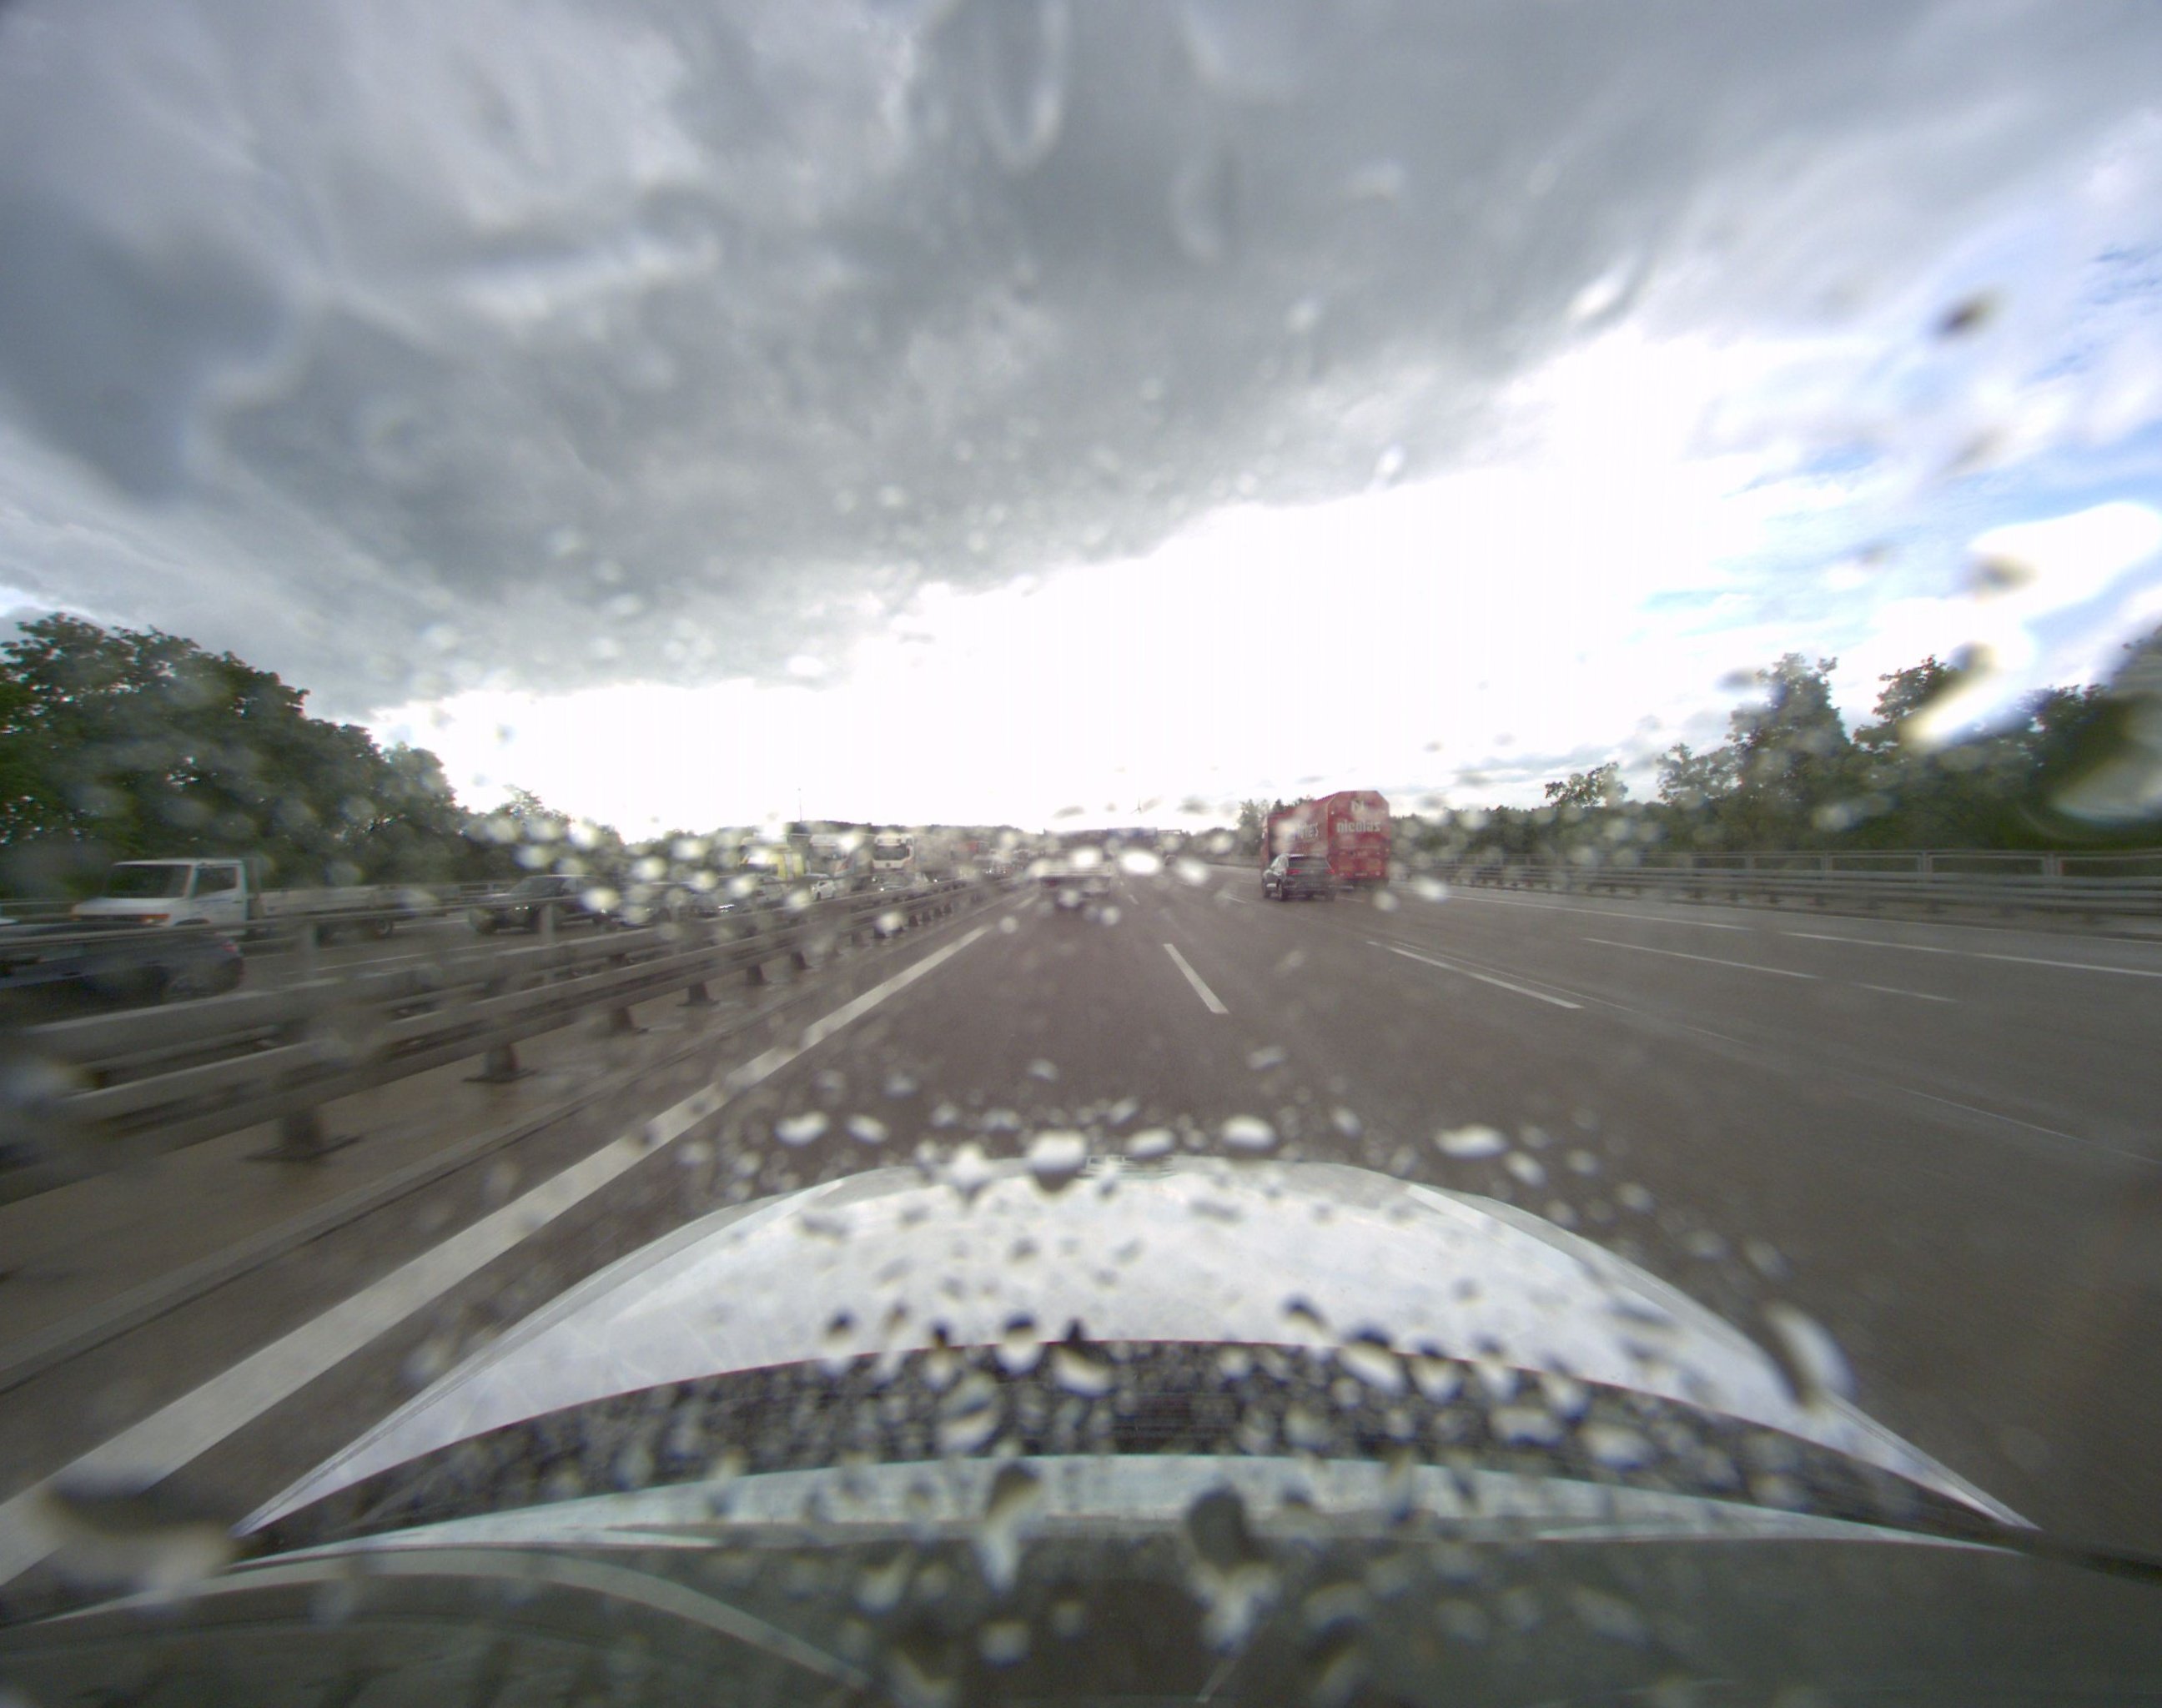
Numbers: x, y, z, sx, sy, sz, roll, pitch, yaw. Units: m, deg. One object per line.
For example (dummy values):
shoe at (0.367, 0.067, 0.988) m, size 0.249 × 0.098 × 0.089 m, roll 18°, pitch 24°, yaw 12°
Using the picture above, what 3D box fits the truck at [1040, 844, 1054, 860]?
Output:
truck at (-9.408, -0.597, 228.818) m, size 3.165 × 4.194 × 7.742 m, roll -2°, pitch 0°, yaw 2°

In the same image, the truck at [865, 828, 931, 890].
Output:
truck at (-13.299, 0.335, 59.920) m, size 2.870 × 4.180 × 7.559 m, roll -2°, pitch 0°, yaw 1°

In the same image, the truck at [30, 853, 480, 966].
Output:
truck at (-21.418, 1.201, 22.367) m, size 2.671 × 2.371 × 9.277 m, roll -2°, pitch 0°, yaw 1°

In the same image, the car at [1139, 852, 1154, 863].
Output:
car at (10.860, 0.572, 134.445) m, size 2.091 × 1.699 × 3.999 m, roll -1°, pitch 0°, yaw 0°

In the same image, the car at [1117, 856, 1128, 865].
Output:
car at (8.390, 1.344, 165.798) m, size 1.966 × 1.699 × 3.999 m, roll -1°, pitch 0°, yaw 0°

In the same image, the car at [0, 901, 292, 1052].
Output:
car at (-13.678, 1.584, 10.978) m, size 1.742 × 1.577 × 4.417 m, roll -2°, pitch 0°, yaw 0°

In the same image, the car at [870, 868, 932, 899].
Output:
car at (-9.740, 1.565, 44.506) m, size 2.007 × 1.387 × 5.461 m, roll -2°, pitch 0°, yaw 1°

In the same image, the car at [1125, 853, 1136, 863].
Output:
car at (9.155, 0.688, 151.197) m, size 2.037 × 1.699 × 4.002 m, roll -1°, pitch 0°, yaw 2°

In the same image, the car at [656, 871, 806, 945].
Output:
car at (-10.001, 1.464, 23.819) m, size 1.906 × 1.766 × 5.333 m, roll -2°, pitch 0°, yaw 1°

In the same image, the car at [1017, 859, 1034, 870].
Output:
car at (-7.694, 1.440, 113.658) m, size 1.824 × 1.452 × 4.003 m, roll -2°, pitch 0°, yaw 3°

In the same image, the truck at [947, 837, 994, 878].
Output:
truck at (-12.043, 0.330, 90.044) m, size 2.973 × 4.149 × 12.526 m, roll -2°, pitch 0°, yaw 1°

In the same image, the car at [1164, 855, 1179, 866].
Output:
car at (14.483, 1.039, 130.811) m, size 2.037 × 1.699 × 5.010 m, roll -1°, pitch 0°, yaw 2°

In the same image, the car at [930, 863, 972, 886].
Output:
car at (-9.011, 1.394, 56.729) m, size 1.915 × 1.419 × 5.166 m, roll -2°, pitch 0°, yaw 1°

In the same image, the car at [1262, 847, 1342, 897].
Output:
car at (7.332, 0.566, 27.389) m, size 1.785 × 1.562 × 3.723 m, roll -1°, pitch 0°, yaw 2°

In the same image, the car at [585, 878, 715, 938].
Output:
car at (-13.968, 1.690, 26.738) m, size 1.742 × 1.577 × 4.688 m, roll -2°, pitch 0°, yaw 0°

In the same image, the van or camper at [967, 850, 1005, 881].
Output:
van or camper at (-8.273, 0.994, 71.735) m, size 2.270 × 2.496 × 7.304 m, roll -2°, pitch 0°, yaw 1°

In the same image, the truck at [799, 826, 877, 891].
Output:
truck at (-16.906, 0.304, 57.263) m, size 2.892 × 4.147 × 7.107 m, roll -2°, pitch 0°, yaw 3°

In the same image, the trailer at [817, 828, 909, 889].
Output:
trailer at (-16.573, 0.294, 63.349) m, size 2.868 × 4.145 × 13.038 m, roll -2°, pitch 0°, yaw 3°

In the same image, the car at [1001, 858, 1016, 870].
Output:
car at (-10.570, 1.472, 118.669) m, size 1.758 × 1.624 × 4.779 m, roll -2°, pitch 0°, yaw 0°

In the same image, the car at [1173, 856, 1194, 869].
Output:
car at (13.523, 1.149, 107.578) m, size 2.098 × 1.605 × 5.064 m, roll -1°, pitch 0°, yaw 0°

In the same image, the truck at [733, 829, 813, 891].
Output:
truck at (-21.368, 0.374, 56.919) m, size 2.747 × 3.993 × 6.581 m, roll -2°, pitch 0°, yaw 3°

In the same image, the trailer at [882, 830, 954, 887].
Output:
trailer at (-13.090, 0.337, 66.920) m, size 2.870 × 4.145 × 13.031 m, roll -2°, pitch 0°, yaw 1°

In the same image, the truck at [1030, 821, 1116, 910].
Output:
truck at (-0.223, 0.303, 25.994) m, size 2.345 × 2.408 × 7.356 m, roll 0°, pitch 0°, yaw 0°

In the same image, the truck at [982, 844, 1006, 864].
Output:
truck at (-17.510, 0.030, 164.389) m, size 3.213 × 3.910 × 10.286 m, roll -1°, pitch 0°, yaw 2°

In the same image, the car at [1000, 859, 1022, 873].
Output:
car at (-8.158, 1.392, 95.055) m, size 1.915 × 1.419 × 5.013 m, roll -2°, pitch 0°, yaw 1°

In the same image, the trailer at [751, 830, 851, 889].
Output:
trailer at (-21.104, 0.357, 62.401) m, size 2.747 × 3.993 × 12.315 m, roll -2°, pitch 0°, yaw 3°

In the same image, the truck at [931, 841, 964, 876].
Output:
truck at (-15.612, 0.500, 95.494) m, size 2.834 × 4.029 × 4.966 m, roll -1°, pitch 0°, yaw 2°

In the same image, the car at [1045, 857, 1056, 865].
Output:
car at (-5.753, 1.286, 152.965) m, size 1.714 × 1.502 × 5.503 m, roll -2°, pitch 0°, yaw 1°

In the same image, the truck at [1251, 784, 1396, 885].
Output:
truck at (11.379, -0.816, 40.603) m, size 3.140 × 4.003 × 15.646 m, roll -1°, pitch 0°, yaw 2°

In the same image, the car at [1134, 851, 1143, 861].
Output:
car at (14.880, 0.434, 210.368) m, size 2.037 × 2.498 × 4.003 m, roll -1°, pitch 0°, yaw 3°

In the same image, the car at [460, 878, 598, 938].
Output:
car at (-17.251, 1.624, 25.691) m, size 1.528 × 1.596 × 4.001 m, roll -2°, pitch 0°, yaw 1°

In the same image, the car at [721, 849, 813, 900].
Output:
car at (-16.986, 1.037, 44.538) m, size 2.148 × 2.504 × 6.774 m, roll -2°, pitch 0°, yaw 1°

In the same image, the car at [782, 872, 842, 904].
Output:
car at (-13.693, 1.693, 41.684) m, size 1.596 × 1.387 × 4.101 m, roll -2°, pitch 0°, yaw 1°

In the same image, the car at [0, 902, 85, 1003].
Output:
car at (-17.338, 1.562, 11.228) m, size 1.742 × 1.479 × 4.417 m, roll -2°, pitch 0°, yaw 0°

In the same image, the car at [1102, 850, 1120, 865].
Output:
car at (3.536, 0.394, 96.690) m, size 2.037 × 1.699 × 4.003 m, roll -1°, pitch 0°, yaw 3°

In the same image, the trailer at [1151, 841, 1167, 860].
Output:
trailer at (18.071, -0.793, 188.986) m, size 3.319 × 4.176 × 11.848 m, roll -1°, pitch 0°, yaw 3°

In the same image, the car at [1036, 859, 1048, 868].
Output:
car at (-6.472, 1.570, 134.578) m, size 1.566 × 1.354 × 4.387 m, roll -2°, pitch 0°, yaw 3°
